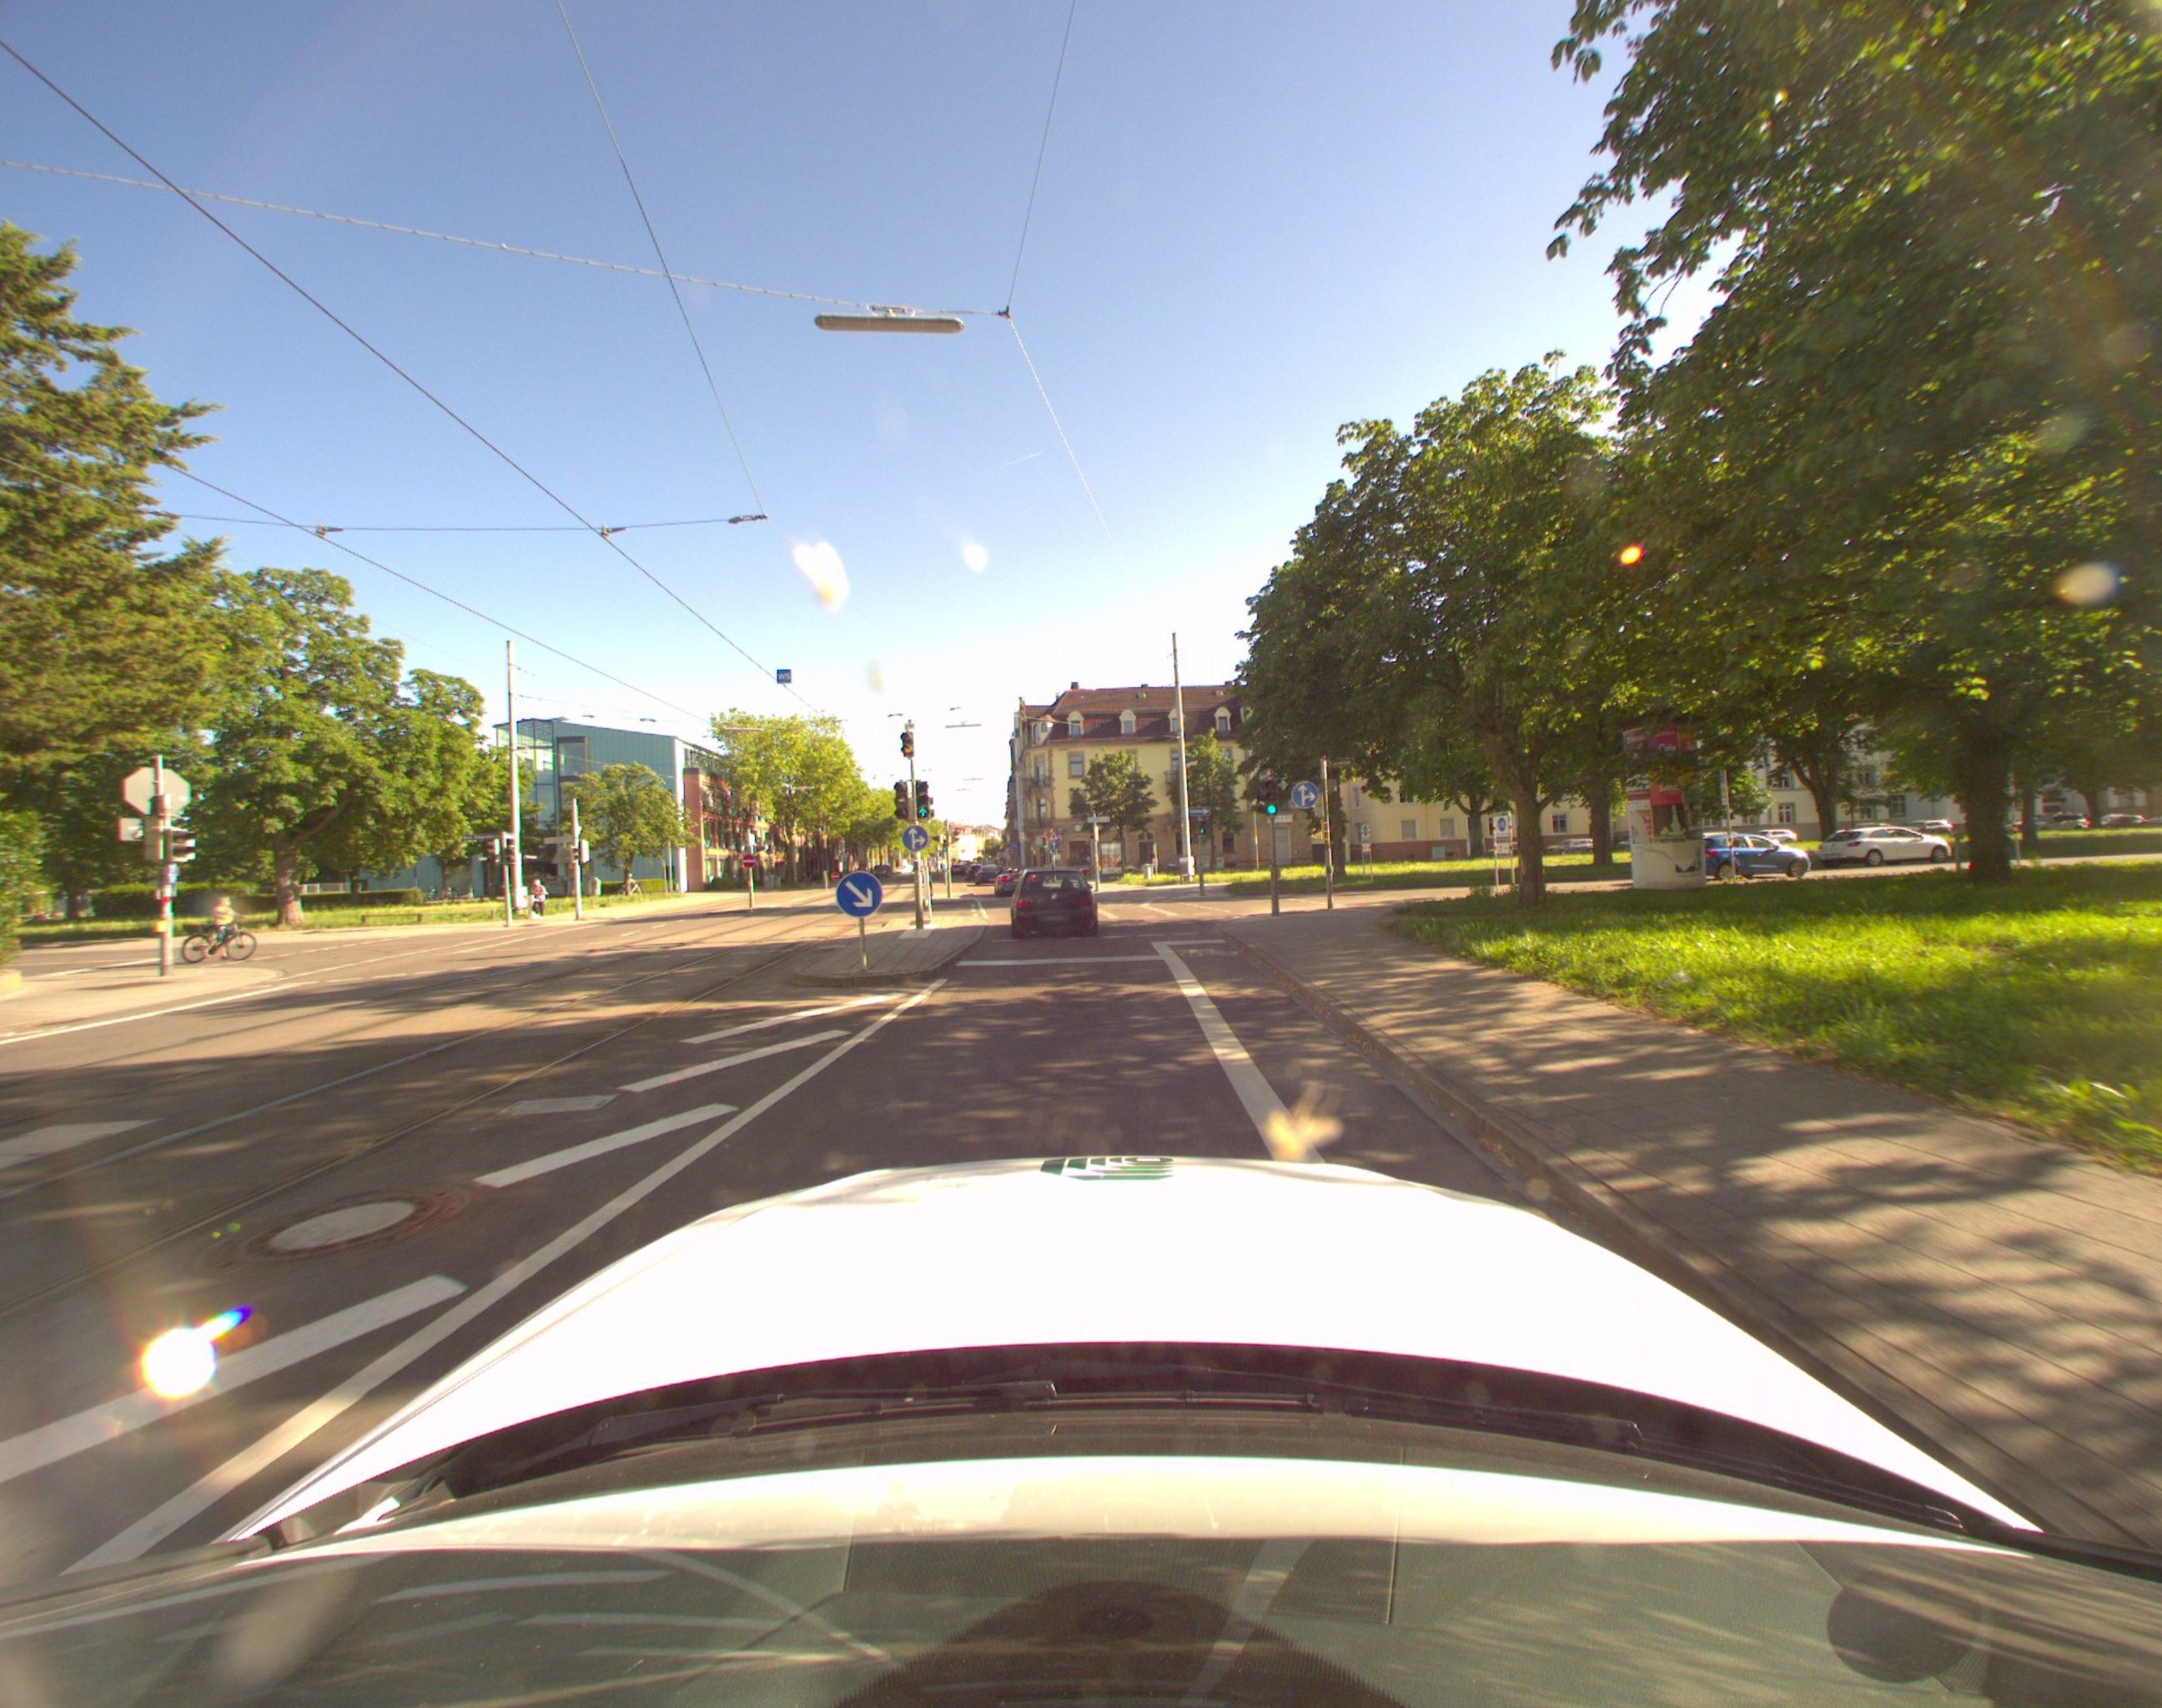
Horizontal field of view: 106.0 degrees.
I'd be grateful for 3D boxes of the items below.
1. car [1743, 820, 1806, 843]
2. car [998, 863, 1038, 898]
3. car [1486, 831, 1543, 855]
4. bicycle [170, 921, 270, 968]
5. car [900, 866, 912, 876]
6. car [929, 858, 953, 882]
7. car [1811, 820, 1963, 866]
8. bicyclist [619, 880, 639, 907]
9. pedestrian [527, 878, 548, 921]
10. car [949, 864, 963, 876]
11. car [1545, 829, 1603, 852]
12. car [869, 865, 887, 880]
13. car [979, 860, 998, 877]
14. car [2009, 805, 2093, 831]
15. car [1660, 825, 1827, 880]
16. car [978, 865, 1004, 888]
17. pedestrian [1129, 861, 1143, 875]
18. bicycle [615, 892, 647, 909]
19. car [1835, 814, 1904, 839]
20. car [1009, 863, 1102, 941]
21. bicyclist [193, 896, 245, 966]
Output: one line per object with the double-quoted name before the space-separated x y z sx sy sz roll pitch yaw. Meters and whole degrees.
"car" 60.988 -1.964 71.667 4.090 1.816 1.758 -3 0 -5
"car" -2.858 1.132 36.371 1.632 1.372 3.749 -3 0 -6
"car" 37.123 -0.911 69.796 3.949 1.816 1.758 -3 0 -5
"bicycle" -21.936 2.301 20.768 1.938 1.015 0.538 -3 0 1
"car" -37.691 3.711 175.309 1.992 2.014 3.989 -2 -1 -8
"car" -11.930 1.351 69.617 1.786 1.860 3.989 -2 0 -8
"car" 28.908 -0.380 29.279 3.788 1.441 1.744 -3 0 -3
"bicyclist" -32.821 2.872 59.122 1.109 1.885 0.445 -2 -1 -40
"pedestrian" -21.882 1.814 32.797 0.612 1.689 0.727 0 -1 -25
"car" -15.823 1.999 103.402 1.680 1.453 3.369 -3 0 -8
"car" 42.421 -1.140 70.180 3.949 1.816 1.758 -3 0 -5
"car" -26.767 2.371 107.380 1.972 1.815 4.281 -3 0 -11
"car" -8.492 1.280 74.694 1.569 1.311 3.491 -3 2 -8
"car" 80.595 -2.967 67.675 4.807 1.816 1.991 -3 0 -4
"car" 20.464 -0.037 25.215 3.986 1.449 1.784 -3 0 -10
"car" -6.267 1.558 56.526 1.569 1.311 3.636 -3 2 -9
"pedestrian" 4.683 1.179 69.516 0.979 1.187 0.741 -3 0 -7
"bicycle" -32.672 3.371 59.082 1.928 1.106 0.556 -3 -1 -41
"car" 64.026 -2.219 66.164 3.988 1.816 1.758 -3 0 -5
"car" -0.572 0.918 17.241 1.712 1.402 4.001 -1 -1 -3
"bicyclist" -21.973 1.955 20.775 0.677 1.685 0.537 -3 -1 1
